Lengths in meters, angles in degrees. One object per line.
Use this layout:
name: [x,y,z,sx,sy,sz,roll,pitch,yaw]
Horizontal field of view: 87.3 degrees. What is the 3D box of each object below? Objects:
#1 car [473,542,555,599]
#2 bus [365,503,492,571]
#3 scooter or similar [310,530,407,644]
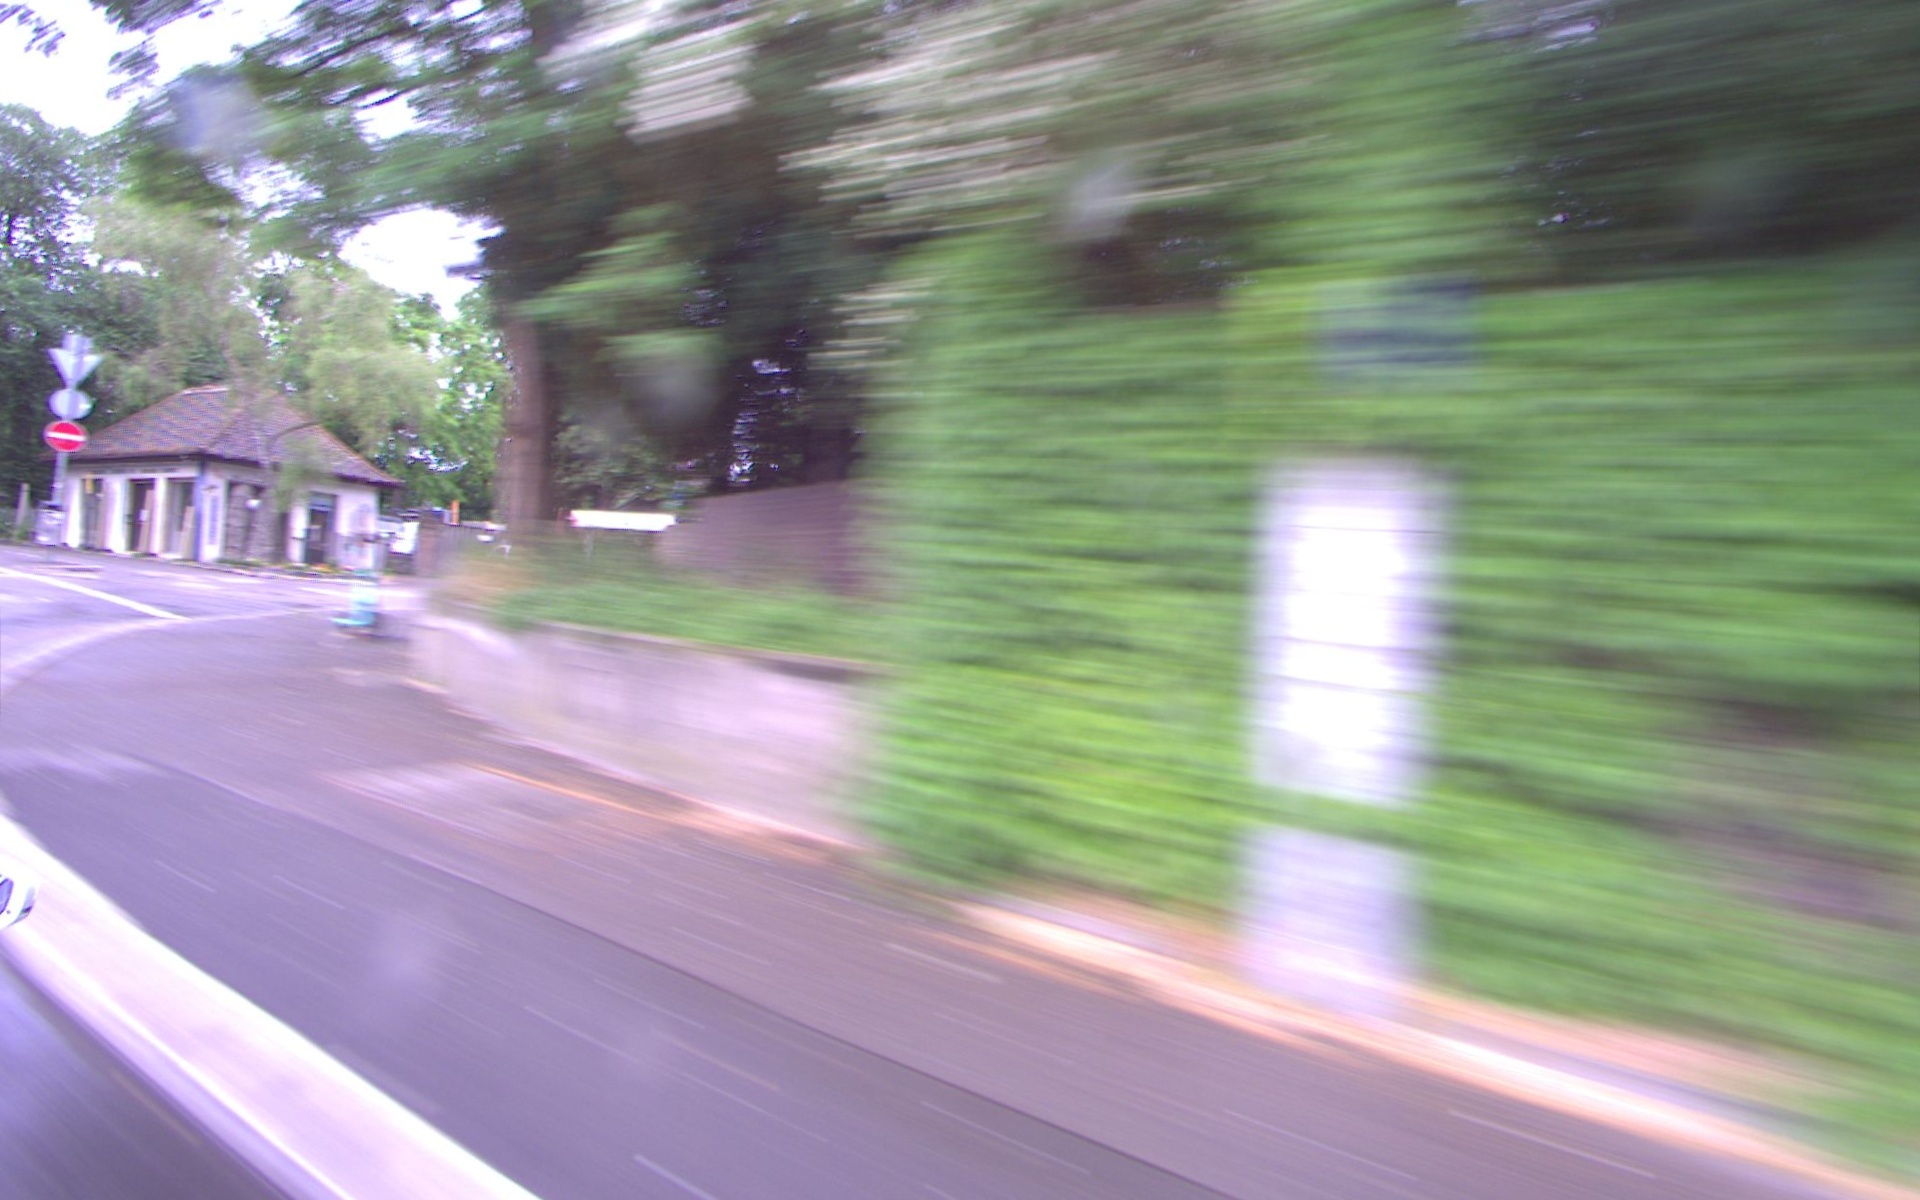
car: [-15.223,-1.032,34.227,1.816,1.598,3.728,7,0,-34]
bus: [-27.121,-3.254,51.231,7.049,2.733,2.255,6,0,32]
scooter or similar: [-7.232,-0.164,12.075,1.294,1.247,0.513,6,3,37]
